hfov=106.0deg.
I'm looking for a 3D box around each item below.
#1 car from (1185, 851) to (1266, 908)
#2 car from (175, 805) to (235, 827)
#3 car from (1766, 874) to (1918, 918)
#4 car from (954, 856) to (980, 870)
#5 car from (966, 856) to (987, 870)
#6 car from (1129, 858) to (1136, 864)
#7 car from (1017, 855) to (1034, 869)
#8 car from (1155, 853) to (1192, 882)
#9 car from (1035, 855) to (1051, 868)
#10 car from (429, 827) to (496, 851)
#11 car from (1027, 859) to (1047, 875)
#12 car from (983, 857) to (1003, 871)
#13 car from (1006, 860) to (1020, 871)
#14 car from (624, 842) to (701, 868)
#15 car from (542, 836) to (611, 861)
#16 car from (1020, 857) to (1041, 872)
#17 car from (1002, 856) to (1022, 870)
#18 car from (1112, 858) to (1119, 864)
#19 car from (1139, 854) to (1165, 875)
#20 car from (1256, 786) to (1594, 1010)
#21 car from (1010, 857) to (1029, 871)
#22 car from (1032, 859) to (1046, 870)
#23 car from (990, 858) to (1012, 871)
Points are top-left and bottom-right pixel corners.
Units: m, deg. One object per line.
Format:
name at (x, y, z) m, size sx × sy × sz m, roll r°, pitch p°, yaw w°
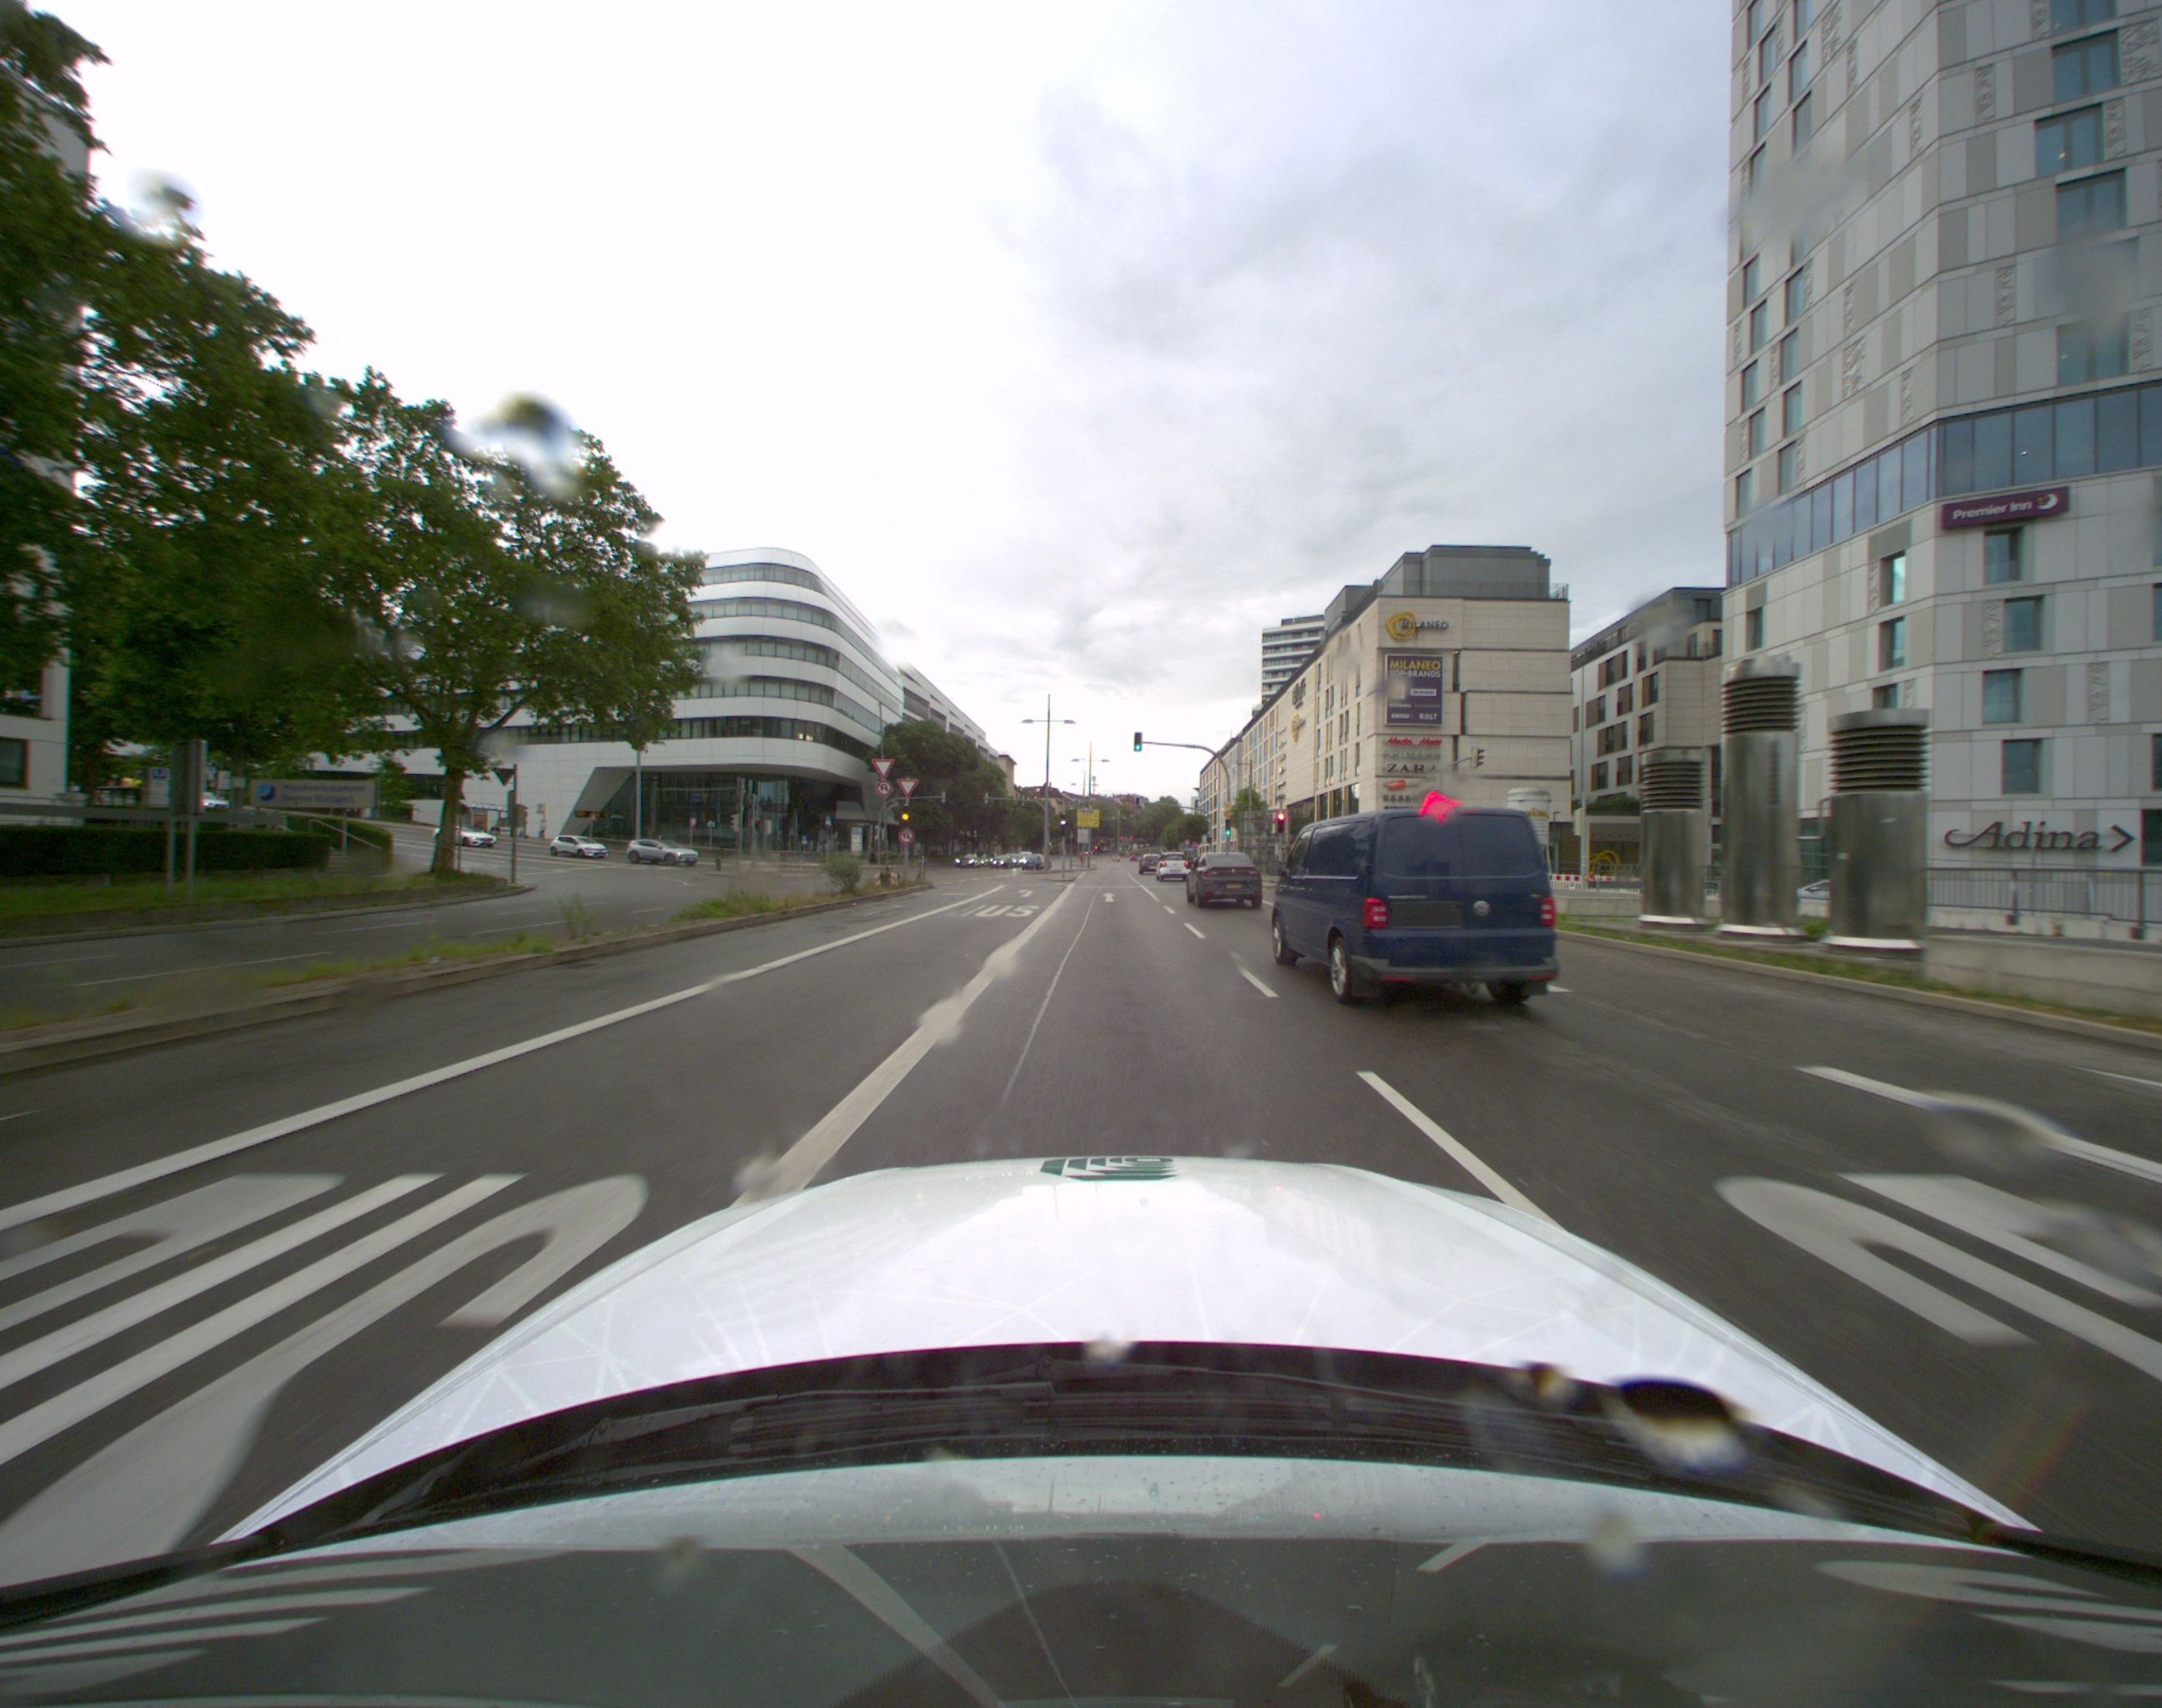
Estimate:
car at (4.147, 0.685, 24.052) m, size 1.784 × 1.507 × 4.341 m, roll 0°, pitch 0°, yaw 2°
car at (-73.525, -3.166, 68.364) m, size 3.955 × 1.631 × 1.903 m, roll 2°, pitch -1°, yaw 18°
car at (29.054, 1.558, 31.258) m, size 3.949 × 1.433 × 1.754 m, roll 2°, pitch 0°, yaw 30°
car at (-11.061, 0.863, 79.403) m, size 1.736 × 1.328 × 4.227 m, roll 0°, pitch -1°, yaw 2°
car at (-11.258, 0.985, 87.926) m, size 1.736 × 1.424 × 3.541 m, roll 0°, pitch -1°, yaw 2°
car at (13.796, 1.879, 218.418) m, size 1.733 × 1.531 × 3.816 m, roll 0°, pitch -1°, yaw 2°
car at (-6.930, 0.989, 102.521) m, size 1.736 × 1.748 × 3.541 m, roll 0°, pitch -1°, yaw 2°
car at (5.002, 0.745, 44.468) m, size 1.717 × 1.531 × 3.816 m, roll 0°, pitch -1°, yaw 2°
car at (-4.293, 0.884, 92.512) m, size 1.532 × 1.478 × 3.698 m, roll 0°, pitch -1°, yaw 2°
car at (-45.136, -1.086, 59.437) m, size 3.955 × 1.631 × 1.903 m, roll 1°, pitch -1°, yaw 18°
car at (-4.571, 1.353, 84.821) m, size 1.696 × 1.559 × 4.247 m, roll 0°, pitch -1°, yaw 2°
car at (-10.145, 1.146, 93.844) m, size 1.736 × 1.559 × 3.541 m, roll 0°, pitch -1°, yaw 2°
car at (-10.564, 1.785, 127.532) m, size 1.736 × 1.748 × 3.541 m, roll 0°, pitch -1°, yaw 2°
car at (-27.706, 0.086, 53.963) m, size 4.465 × 1.631 × 1.903 m, roll 0°, pitch -1°, yaw 18°
car at (-35.106, -0.356, 56.686) m, size 3.955 × 1.631 × 1.903 m, roll 0°, pitch -1°, yaw 18°
car at (-4.904, 1.068, 79.703) m, size 1.736 × 1.444 × 3.396 m, roll 0°, pitch -1°, yaw 2°
car at (-7.490, 0.989, 88.289) m, size 1.736 × 1.559 × 3.541 m, roll 0°, pitch -1°, yaw 2°
car at (8.733, 1.756, 206.383) m, size 1.734 × 1.531 × 3.814 m, roll 0°, pitch 0°, yaw 0°
car at (5.289, 0.812, 61.064) m, size 1.733 × 1.531 × 3.816 m, roll 0°, pitch -1°, yaw 2°
car at (3.561, 0.376, 9.675) m, size 2.025 × 1.882 × 5.045 m, roll -3°, pitch 0°, yaw 3°
car at (-7.010, 1.164, 92.891) m, size 1.736 × 1.559 × 3.541 m, roll 0°, pitch -1°, yaw 2°
car at (-6.621, 1.642, 128.697) m, size 1.736 × 1.748 × 3.541 m, roll 0°, pitch -1°, yaw 2°
car at (-7.939, 1.034, 81.039) m, size 1.736 × 1.257 × 3.542 m, roll 1°, pitch 0°, yaw 2°
